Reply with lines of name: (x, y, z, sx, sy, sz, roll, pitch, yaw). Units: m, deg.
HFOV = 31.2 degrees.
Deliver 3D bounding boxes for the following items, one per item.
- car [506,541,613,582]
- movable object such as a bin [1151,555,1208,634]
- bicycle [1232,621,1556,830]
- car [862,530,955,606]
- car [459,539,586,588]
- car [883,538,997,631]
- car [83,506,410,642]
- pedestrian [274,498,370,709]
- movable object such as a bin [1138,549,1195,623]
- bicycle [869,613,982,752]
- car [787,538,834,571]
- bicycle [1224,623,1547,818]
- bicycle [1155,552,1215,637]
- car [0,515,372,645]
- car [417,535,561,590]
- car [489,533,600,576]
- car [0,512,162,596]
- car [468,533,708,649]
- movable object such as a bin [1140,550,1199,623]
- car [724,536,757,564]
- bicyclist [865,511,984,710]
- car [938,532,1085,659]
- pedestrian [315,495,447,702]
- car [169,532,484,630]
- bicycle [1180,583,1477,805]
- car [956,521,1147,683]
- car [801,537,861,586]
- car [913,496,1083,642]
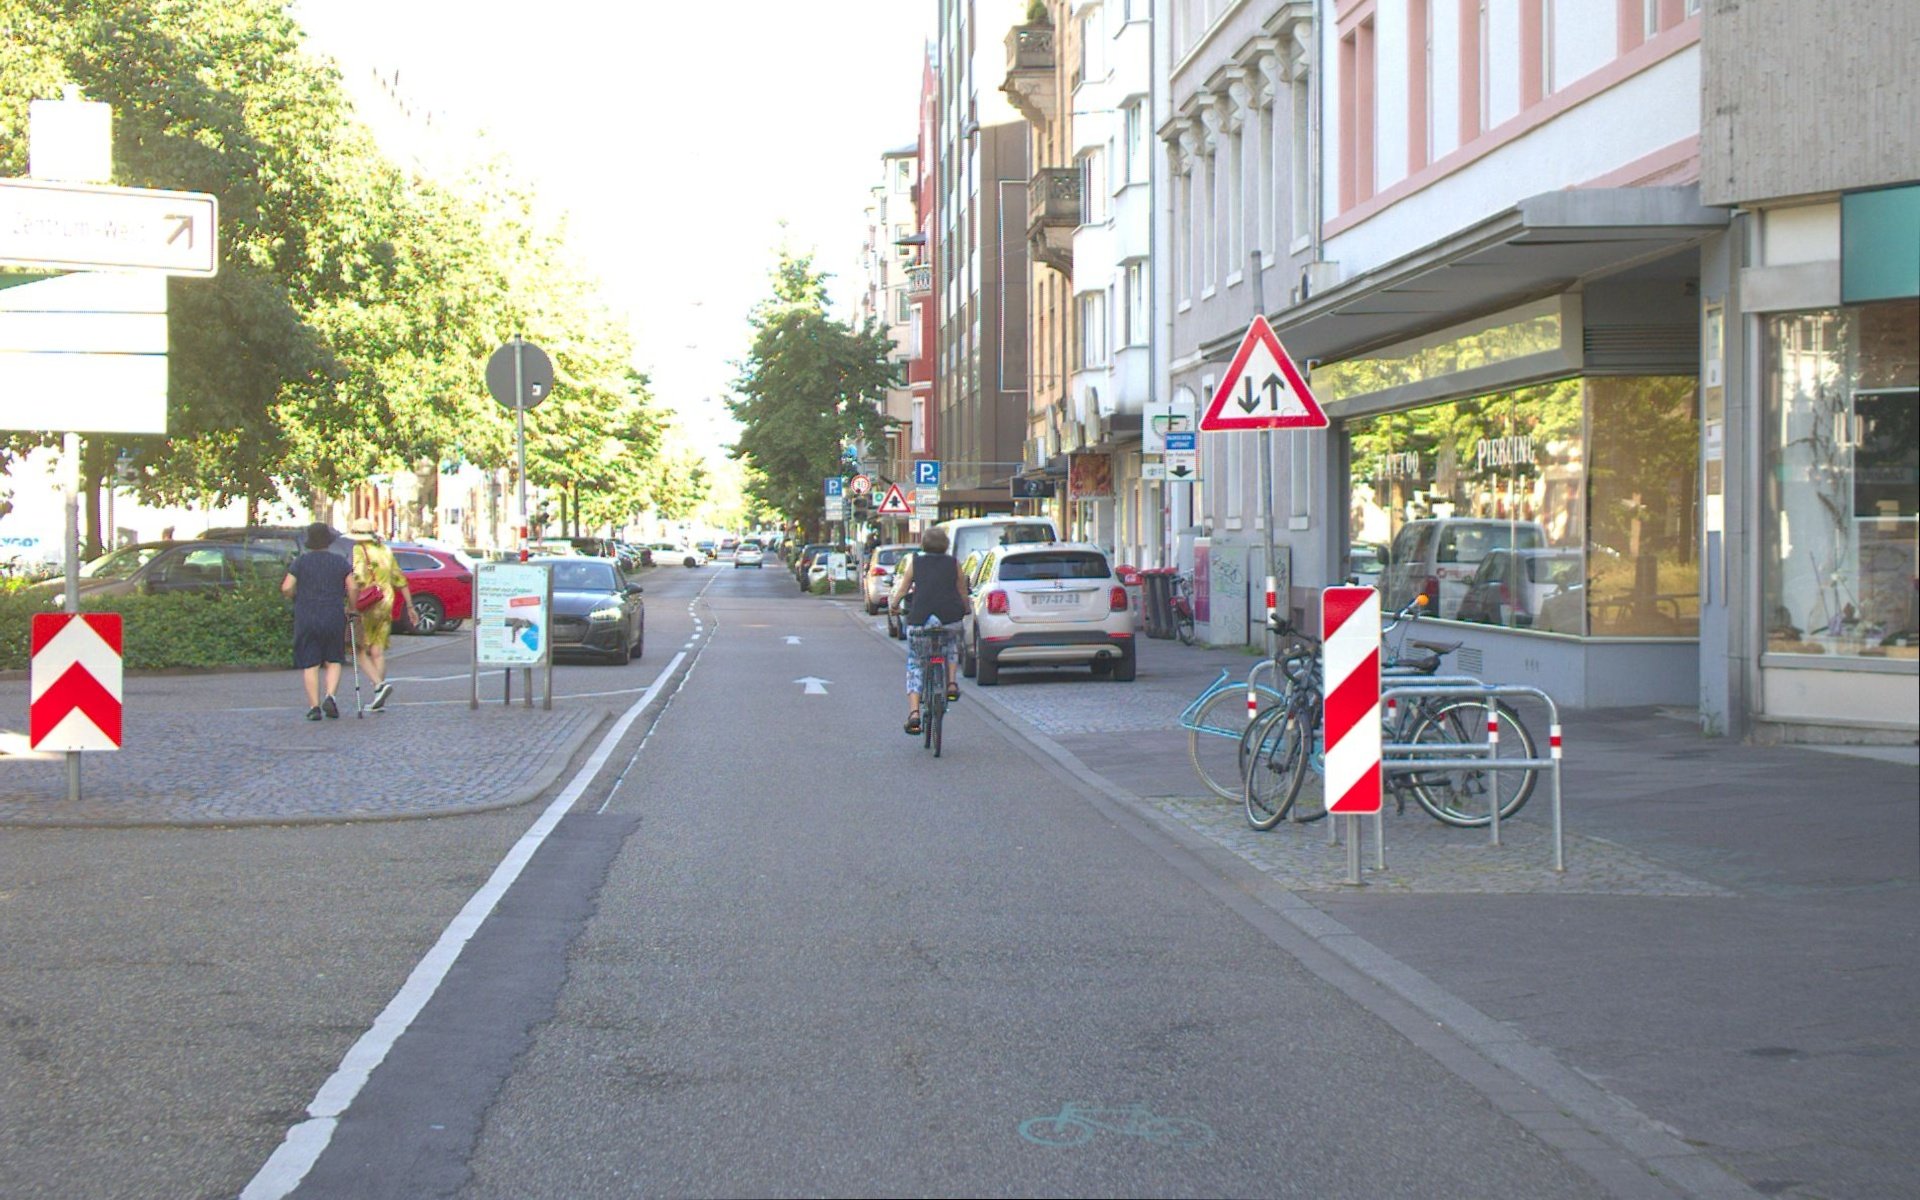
car: (-15.643, -1.512, 134.451, 3.986, 1.503, 2.000, 1, 0, -3)
movable object such as a bin: (3.266, -0.079, 51.152, 0.768, 1.157, 0.578, 1, 0, 0)
bicycle: (2.330, 0.662, 18.475, 1.680, 1.058, 0.343, 1, 0, 13)
car: (-1.249, -0.729, 80.809, 1.898, 1.669, 4.825, 1, 0, -4)
car: (-14.492, -1.200, 114.049, 3.986, 1.503, 2.000, 1, 0, -2)
car: (-0.384, -0.267, 59.679, 1.718, 1.510, 3.583, -2, 0, -4)
car: (-9.487, -0.349, 45.625, 3.986, 1.662, 2.001, 1, 1, -19)
pedestrian: (-5.126, 0.028, 27.658, 0.636, 1.666, 0.693, 1, 0, -3)
movable object such as a bin: (3.188, -0.217, 53.132, 0.838, 1.133, 0.699, 0, 0, 0)
bicycle: (-0.277, 0.589, 25.657, 0.652, 0.955, 2.698, 1, 0, -4)
car: (-6.716, -2.050, 154.092, 1.993, 1.448, 4.001, 1, 1, -4)
bicycle: (2.336, 0.649, 18.867, 1.704, 1.001, 0.427, 1, 0, 13)
bicycle: (3.221, -0.068, 49.095, 0.483, 1.182, 1.718, -2, -1, 15)
car: (-9.406, -0.226, 41.877, 3.988, 1.465, 1.874, 1, 0, -38)
car: (-13.831, -1.095, 101.090, 3.986, 1.503, 2.000, 1, 0, -2)
car: (-15.669, -1.712, 129.819, 3.986, 1.503, 1.895, 1, 0, -2)
car: (-20.985, -1.054, 77.796, 5.263, 1.794, 2.164, 1, 0, -30)
car: (-4.849, -0.101, 45.544, 1.912, 1.412, 4.808, 1, 0, 9)
movable object such as a bin: (3.193, -0.200, 52.425, 0.794, 1.073, 0.660, -3, 0, -1)
car: (-13.125, -2.989, 205.382, 1.870, 1.550, 4.000, 1, 0, -3)
bicyclist: (-0.275, 0.076, 25.799, 0.786, 1.448, 1.096, 1, 0, -4)
car: (0.640, -0.056, 45.177, 1.699, 1.598, 3.757, 0, 0, -3)
pedestrian: (-4.816, -0.016, 28.612, 0.803, 1.693, 0.669, 1, 0, 27)
car: (-10.509, -0.304, 57.041, 4.833, 1.483, 1.765, 1, 0, -24)
bicycle: (2.182, 0.542, 20.323, 1.623, 1.239, 0.658, 1, 0, 17)
car: (0.995, 0.020, 39.958, 1.745, 1.733, 4.961, 1, 0, -4)
car: (-4.543, -1.342, 121.794, 1.993, 1.612, 4.010, 2, 0, -1)
car: (0.487, -0.480, 50.082, 1.993, 1.998, 5.118, 0, 1, -5)
